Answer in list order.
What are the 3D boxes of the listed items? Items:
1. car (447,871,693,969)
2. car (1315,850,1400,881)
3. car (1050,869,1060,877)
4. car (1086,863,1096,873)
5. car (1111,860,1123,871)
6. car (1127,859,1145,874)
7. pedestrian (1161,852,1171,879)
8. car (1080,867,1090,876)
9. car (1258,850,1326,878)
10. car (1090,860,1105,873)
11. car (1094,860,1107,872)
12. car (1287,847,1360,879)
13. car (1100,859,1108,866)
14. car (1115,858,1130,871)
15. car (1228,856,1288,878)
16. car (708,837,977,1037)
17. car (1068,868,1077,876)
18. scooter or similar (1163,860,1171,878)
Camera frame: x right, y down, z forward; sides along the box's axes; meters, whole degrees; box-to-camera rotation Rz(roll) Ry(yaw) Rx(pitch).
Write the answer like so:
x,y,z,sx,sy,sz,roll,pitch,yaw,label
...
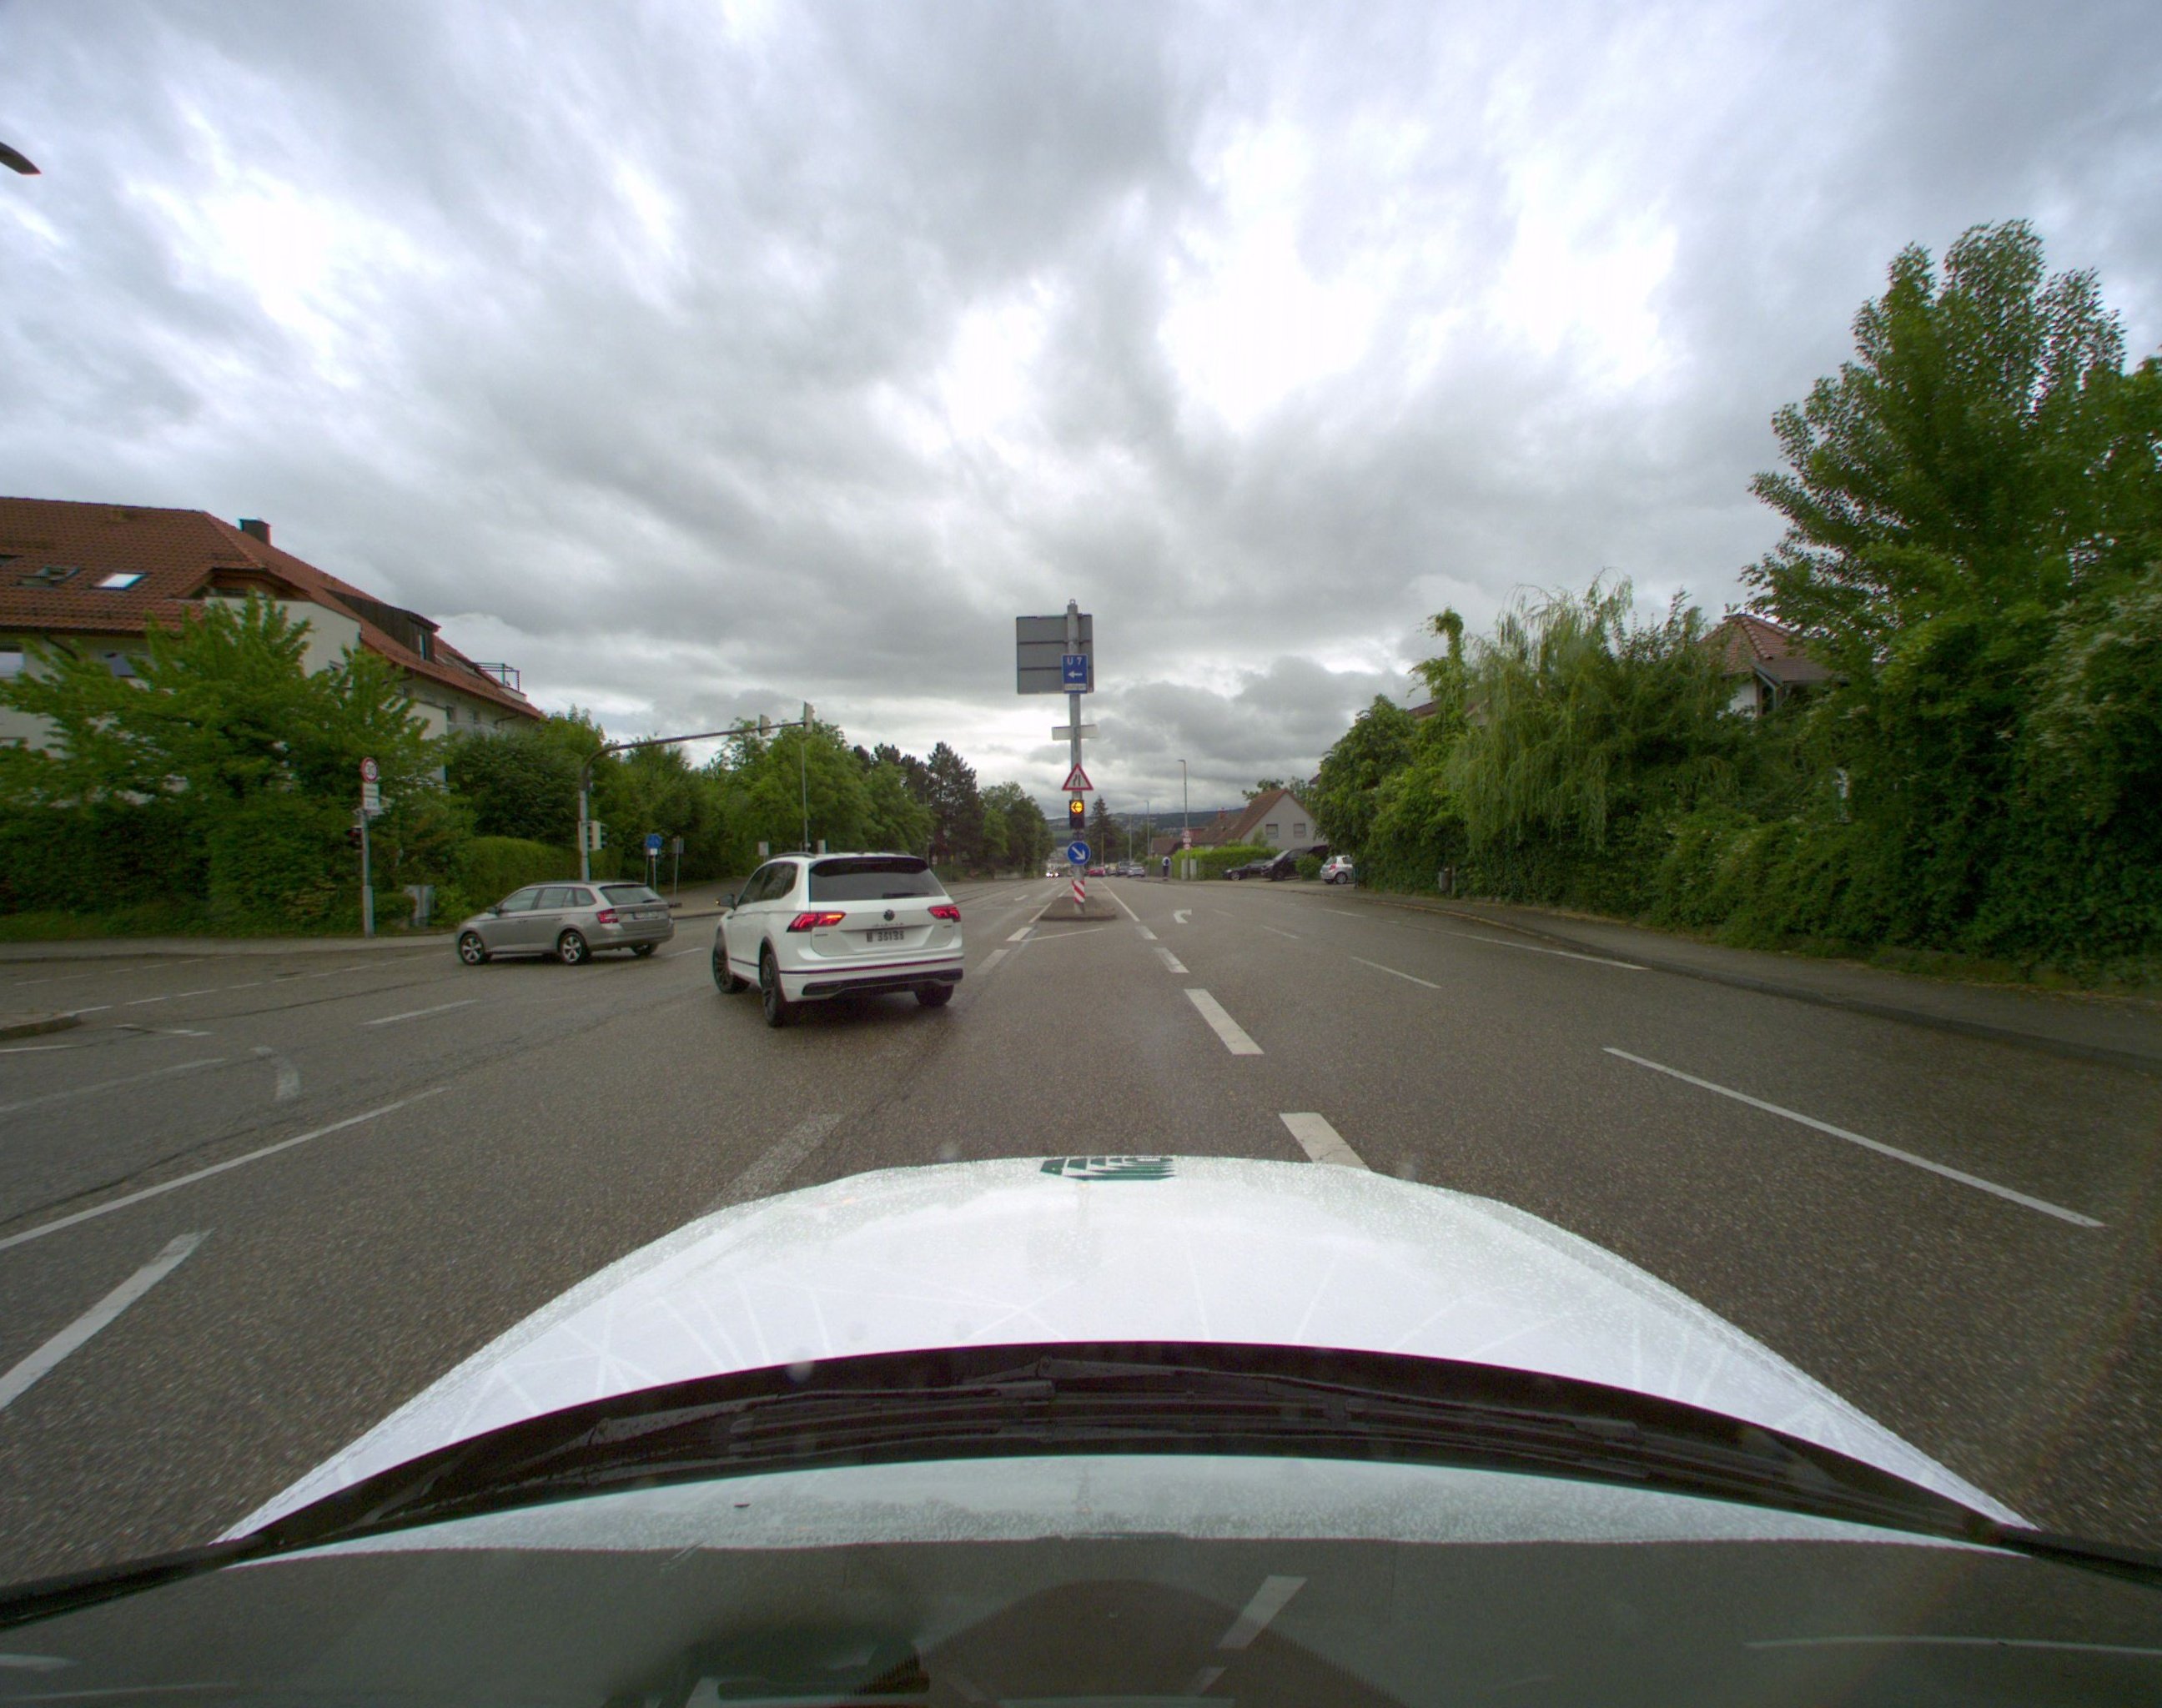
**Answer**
x,y,z,sx,sy,sz,roll,pitch,yaw,label
-9.481,1.172,15.155,3.880,1.589,1.814,-2,0,20,car
14.033,0.598,41.396,3.708,1.395,1.725,-2,-1,-6,car
-5.687,4.157,181.048,1.837,1.717,4.003,-1,0,3,car
1.850,2.486,147.230,1.790,1.783,4.002,-1,0,2,car
5.807,1.849,130.128,1.843,1.574,4.002,-2,0,2,car
5.825,1.333,86.888,1.843,1.574,4.002,0,0,2,car
6.360,0.880,61.097,0.654,2.002,0.717,-1,0,-2,pedestrian
0.873,3.595,168.933,1.880,1.794,4.002,-1,0,2,car
12.711,0.592,49.128,3.618,1.626,1.790,-1,0,-3,car
2.115,1.593,103.565,1.748,1.574,4.002,-2,0,2,car
2.836,1.705,116.702,1.731,1.574,4.002,-2,0,2,car
13.885,0.499,46.755,3.618,1.746,1.706,-1,0,-2,car
5.241,1.914,187.130,1.843,1.574,4.002,-2,0,2,car
5.362,1.366,105.416,1.843,1.574,4.002,0,1,2,car
11.742,0.878,54.205,3.675,1.370,1.518,0,-2,0,car
-2.917,0.729,9.229,1.775,1.696,4.228,-1,0,-33,car
-2.011,4.270,197.740,1.880,1.794,4.001,-1,0,1,car
6.453,1.117,61.187,0.460,1.361,1.384,-1,0,-1,scooter or similar
